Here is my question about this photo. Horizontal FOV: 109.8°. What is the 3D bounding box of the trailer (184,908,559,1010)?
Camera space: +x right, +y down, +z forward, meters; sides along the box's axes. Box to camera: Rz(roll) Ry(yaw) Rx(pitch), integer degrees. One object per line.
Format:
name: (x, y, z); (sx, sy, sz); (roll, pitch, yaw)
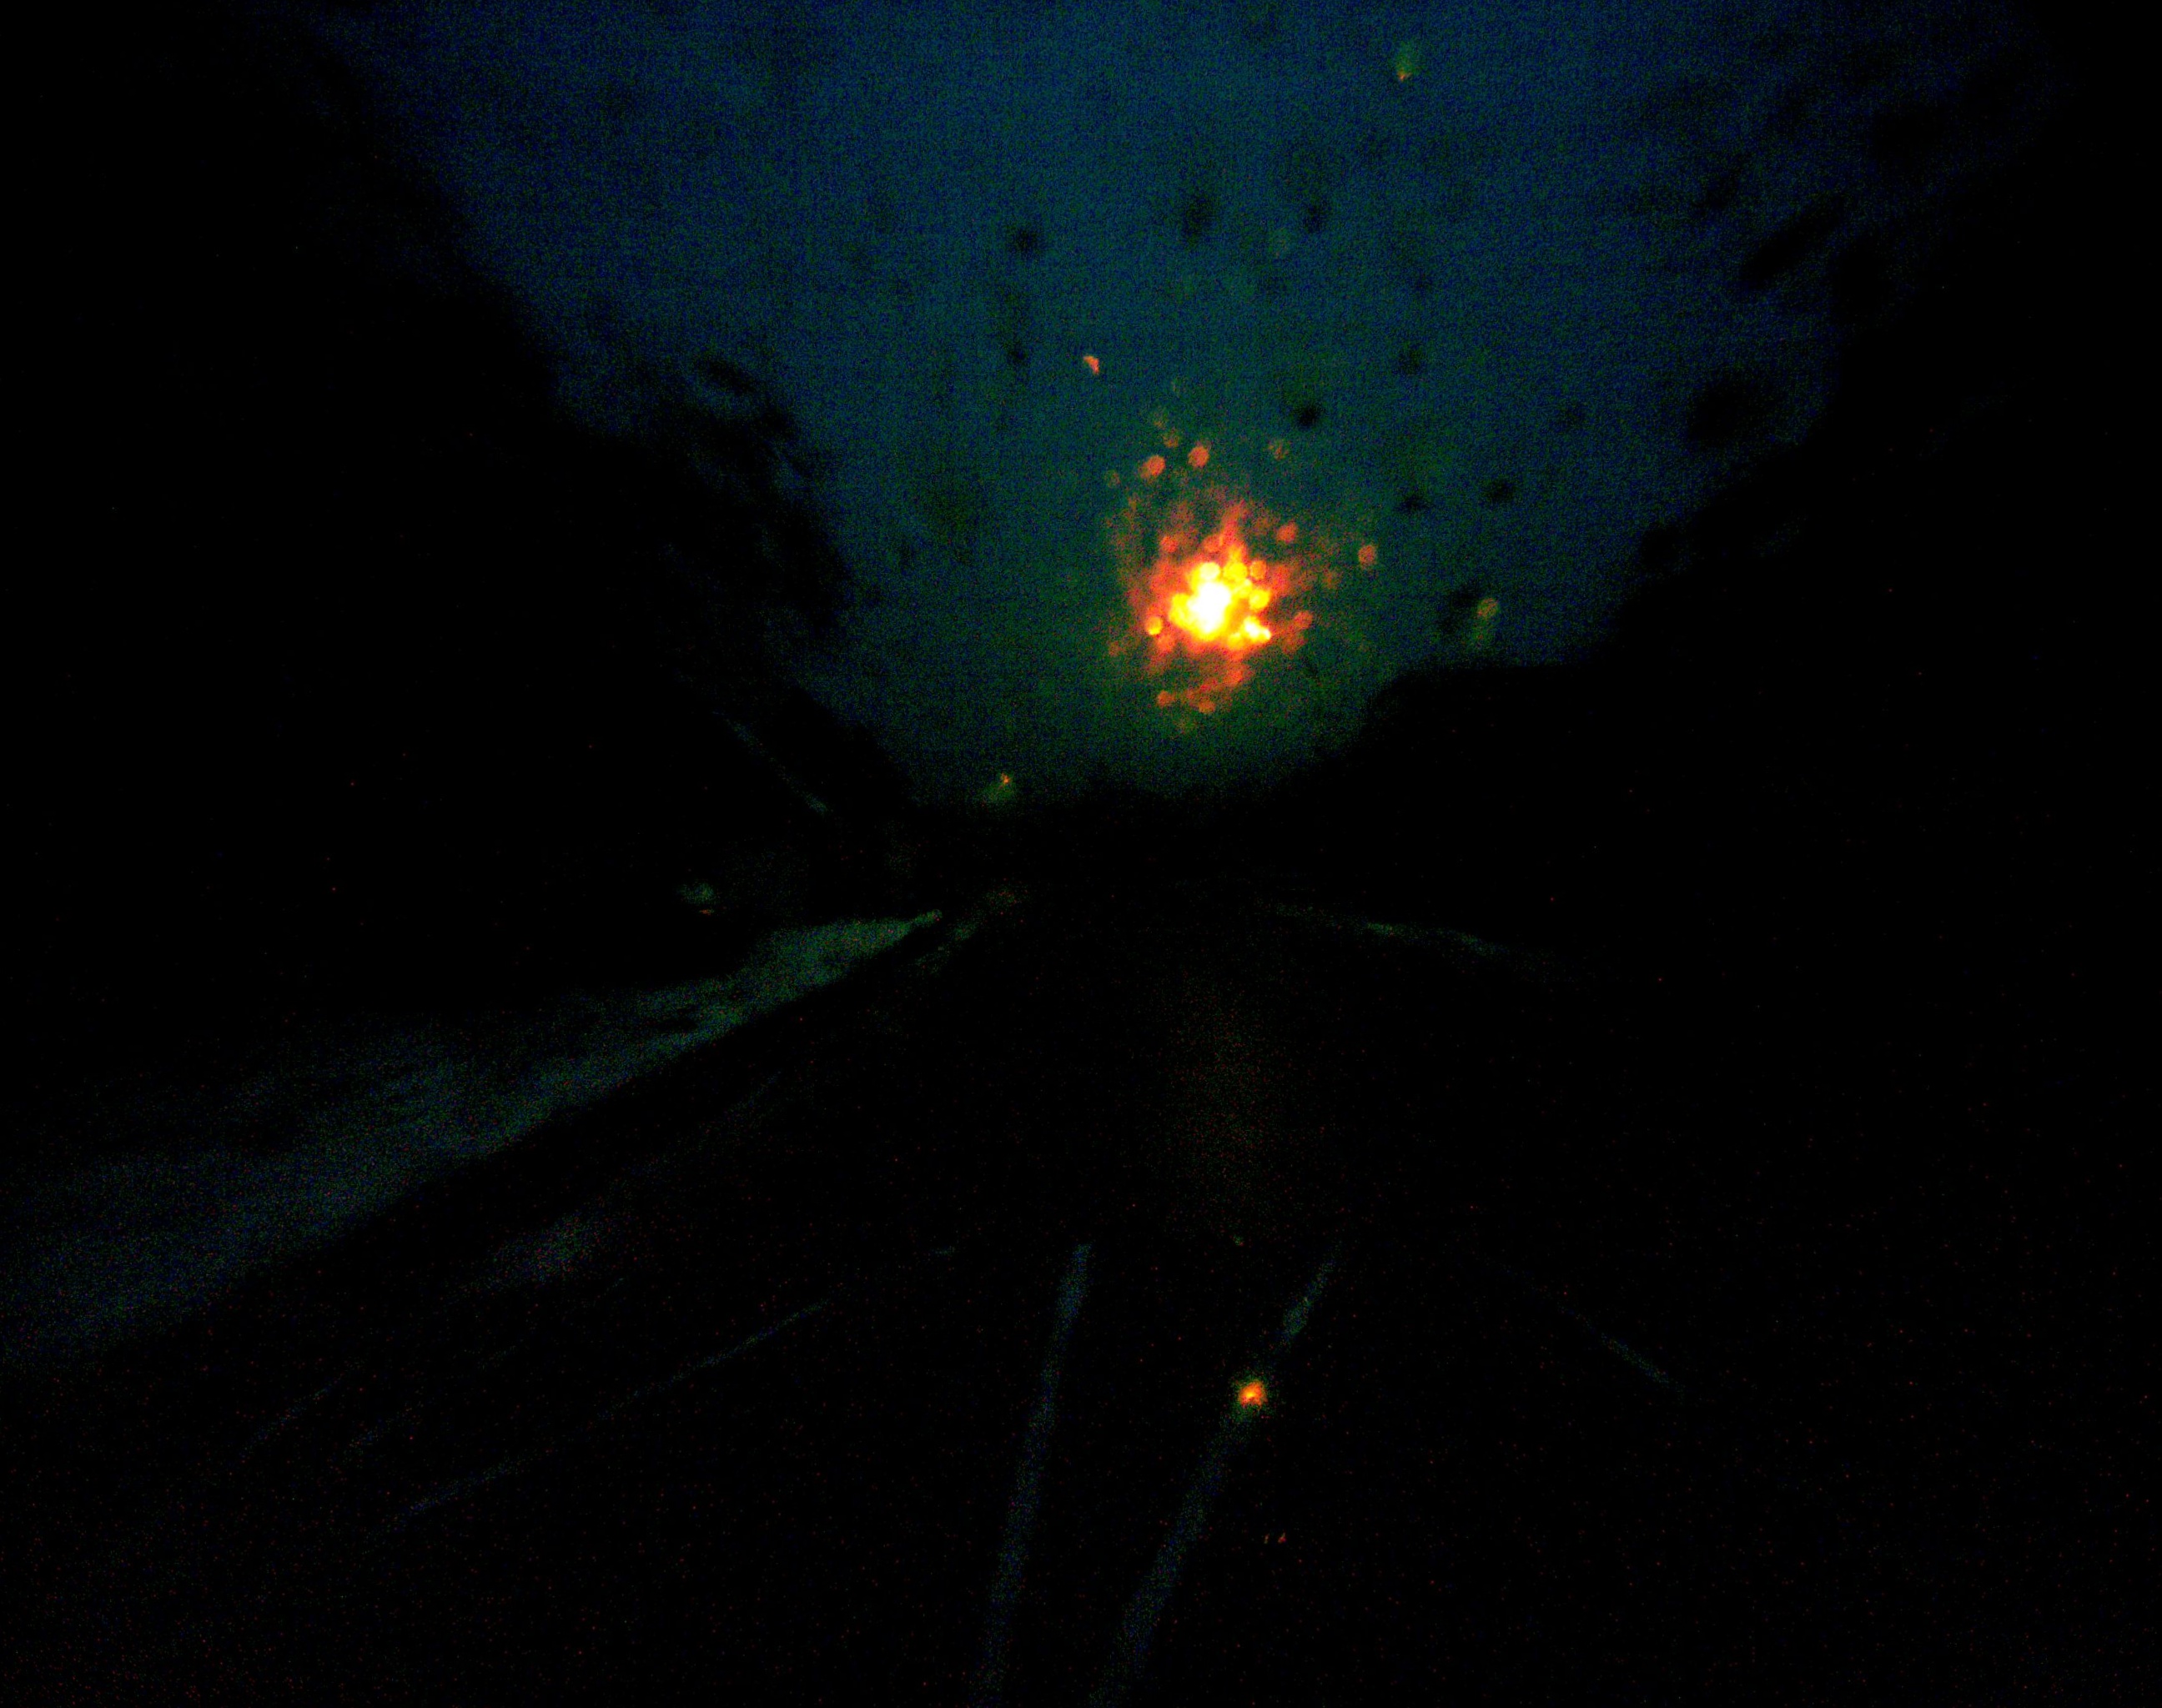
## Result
trailer: (-11.369, 1.649, 12.530); (3.881, 1.085, 2.244); (-3, 0, -6)

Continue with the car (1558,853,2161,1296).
car: (4.600, 0.751, 3.140); (1.881, 1.418, 5.392); (-3, 0, 1)

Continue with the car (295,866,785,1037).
car: (-6.341, 1.094, 9.340); (4.461, 1.374, 2.036); (-6, 0, 1)

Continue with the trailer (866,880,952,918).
trailer: (-5.381, 1.338, 23.414); (1.552, 0.940, 3.991); (0, 0, -29)
